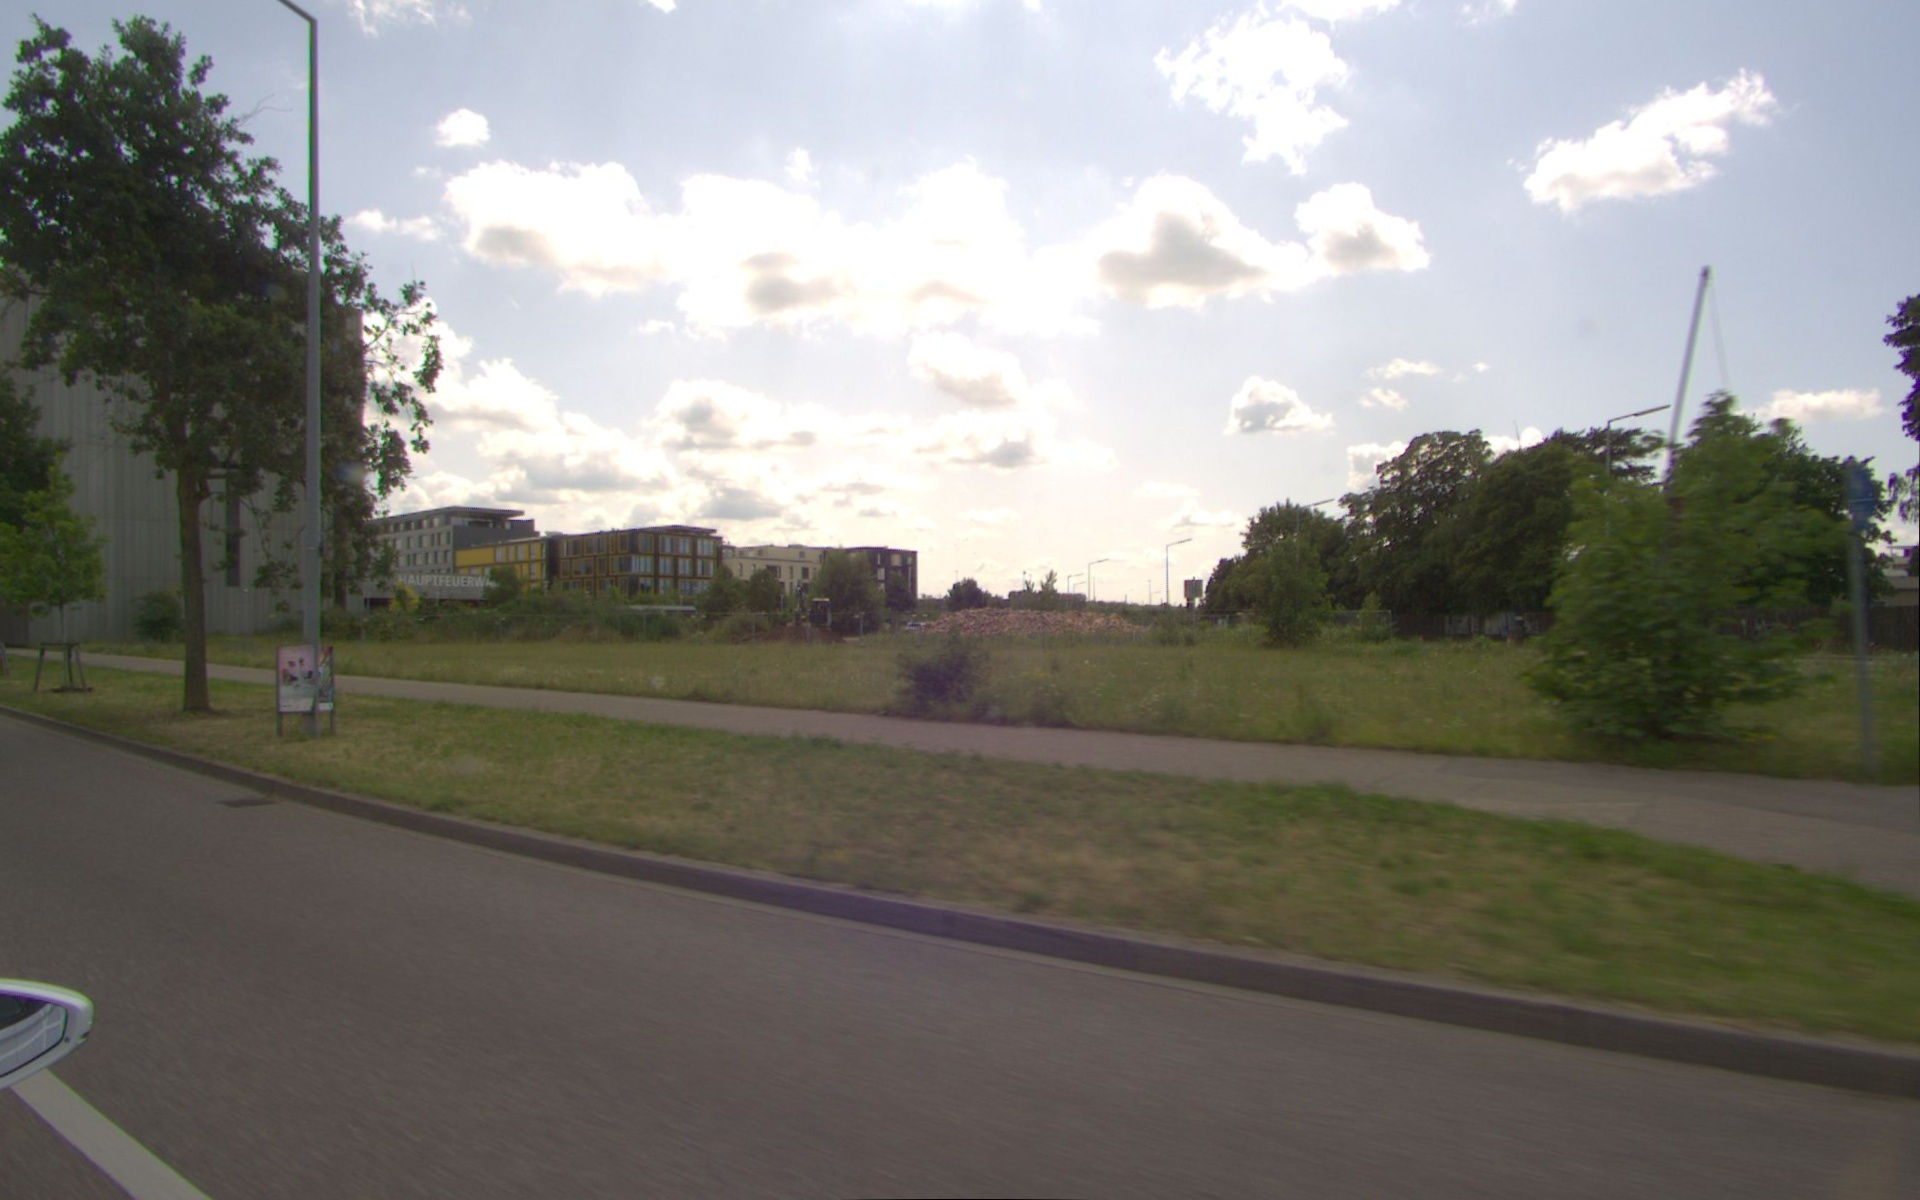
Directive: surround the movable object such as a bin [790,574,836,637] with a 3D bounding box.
[{"bbox_3d":[-10.098,0.530,68.922,2.991,3.899,7.620,0,-3,-8],"label":"movable object such as a bin"}]
